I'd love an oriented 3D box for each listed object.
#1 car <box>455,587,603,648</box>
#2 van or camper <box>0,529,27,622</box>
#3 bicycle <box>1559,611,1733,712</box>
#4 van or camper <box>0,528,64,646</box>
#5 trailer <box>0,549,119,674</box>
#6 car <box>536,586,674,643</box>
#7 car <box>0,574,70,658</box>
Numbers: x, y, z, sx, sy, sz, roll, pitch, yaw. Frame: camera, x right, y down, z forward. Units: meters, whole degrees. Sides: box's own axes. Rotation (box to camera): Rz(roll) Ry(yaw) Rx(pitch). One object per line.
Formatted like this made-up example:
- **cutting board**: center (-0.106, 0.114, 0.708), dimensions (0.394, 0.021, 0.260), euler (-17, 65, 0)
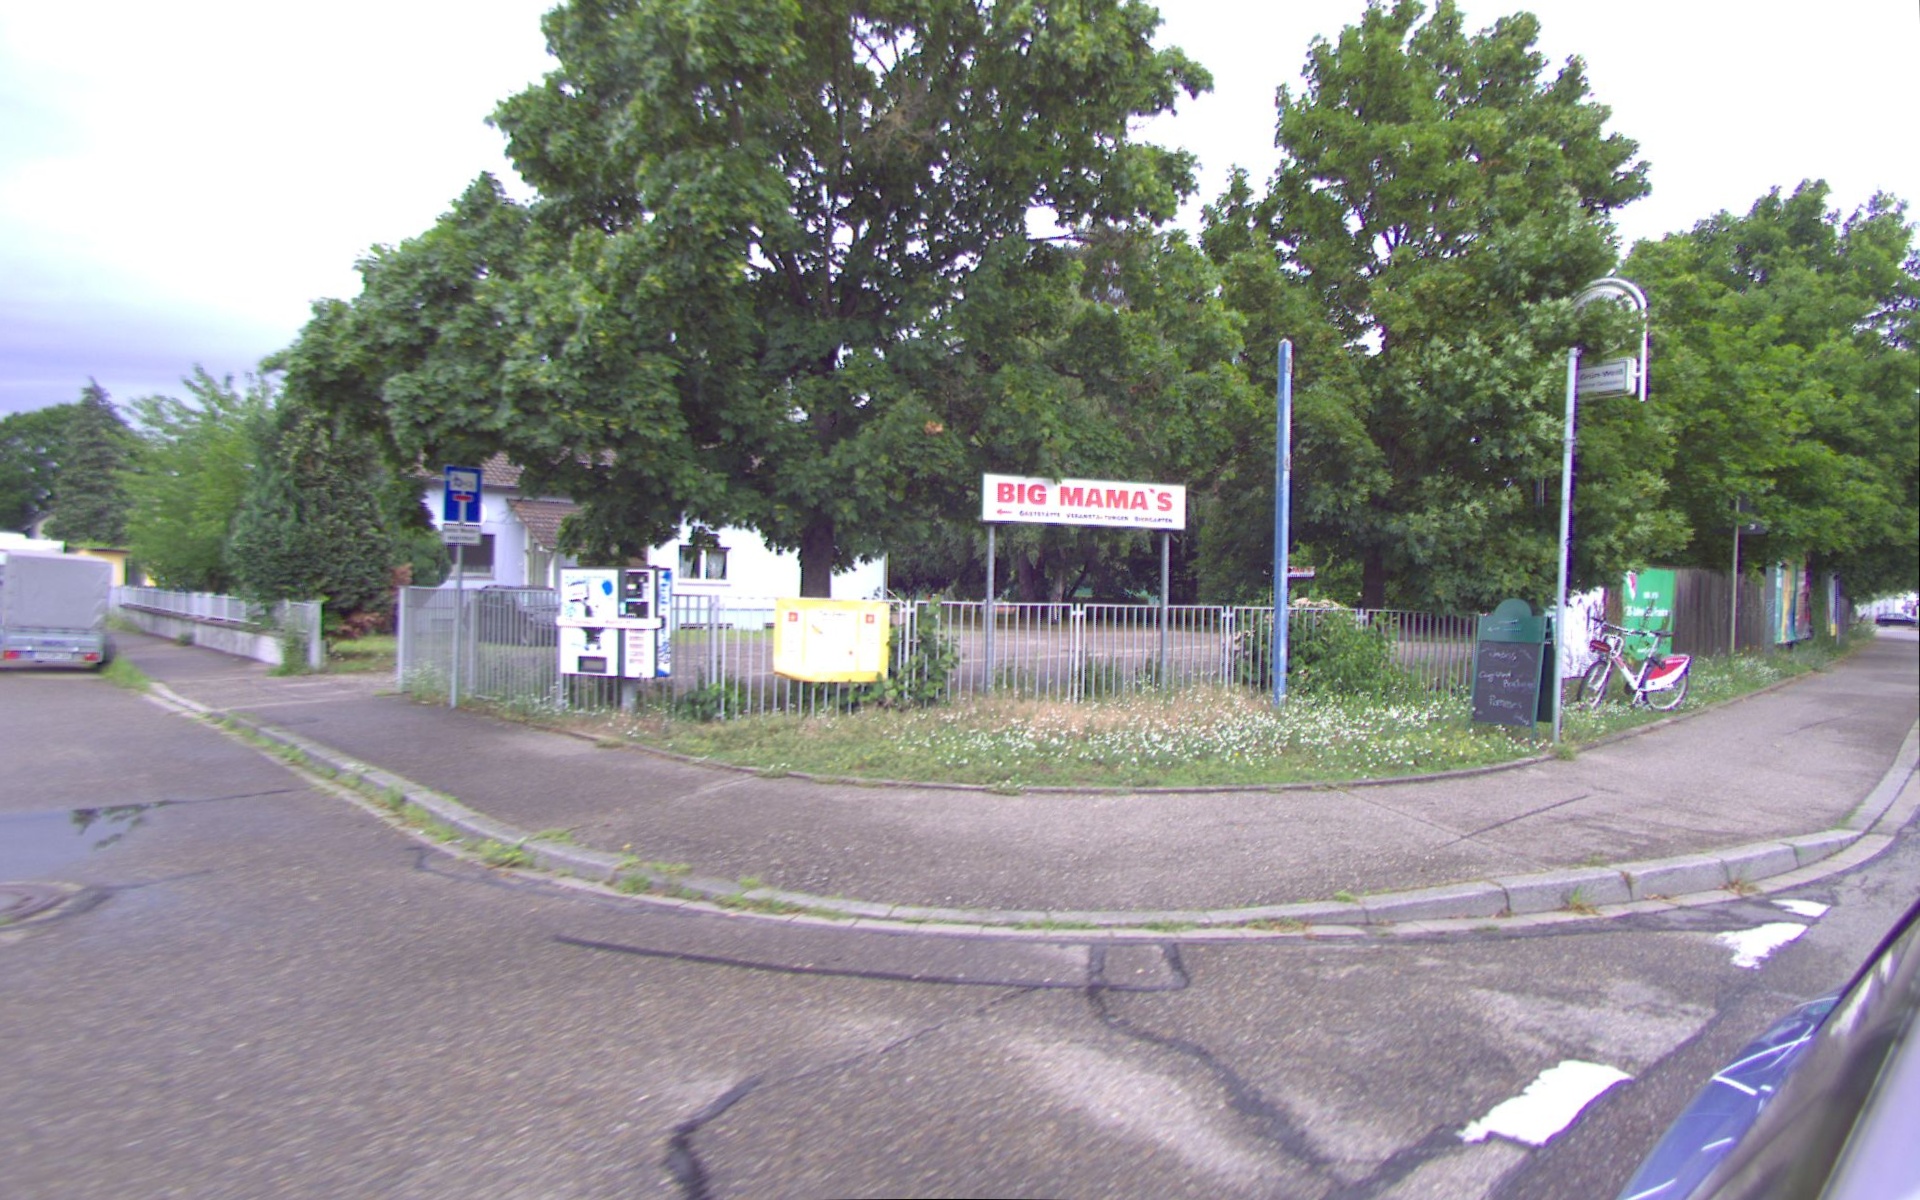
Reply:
- **car**: center (-11.024, 0.418, 25.786), dimensions (3.981, 1.428, 1.842), euler (1, -1, 40)
- **van or camper**: center (-35.334, -0.914, 36.295), dimensions (6.053, 3.151, 2.235), euler (1, -1, 43)
- **bicycle**: center (8.190, 0.714, 12.082), dimensions (1.911, 1.125, 0.800), euler (1, 0, -23)
- **van or camper**: center (-25.166, -0.371, 26.378), dimensions (2.376, 2.868, 5.166), euler (3, -1, -44)
- **trailer**: center (-16.608, 0.169, 18.341), dimensions (3.987, 2.039, 1.617), euler (1, -1, 44)
- **car**: center (-9.887, 0.364, 28.057), dimensions (4.288, 1.405, 1.807), euler (1, 0, 43)
- **car**: center (-20.591, 0.274, 21.595), dimensions (4.579, 1.661, 1.968), euler (2, -1, 44)
